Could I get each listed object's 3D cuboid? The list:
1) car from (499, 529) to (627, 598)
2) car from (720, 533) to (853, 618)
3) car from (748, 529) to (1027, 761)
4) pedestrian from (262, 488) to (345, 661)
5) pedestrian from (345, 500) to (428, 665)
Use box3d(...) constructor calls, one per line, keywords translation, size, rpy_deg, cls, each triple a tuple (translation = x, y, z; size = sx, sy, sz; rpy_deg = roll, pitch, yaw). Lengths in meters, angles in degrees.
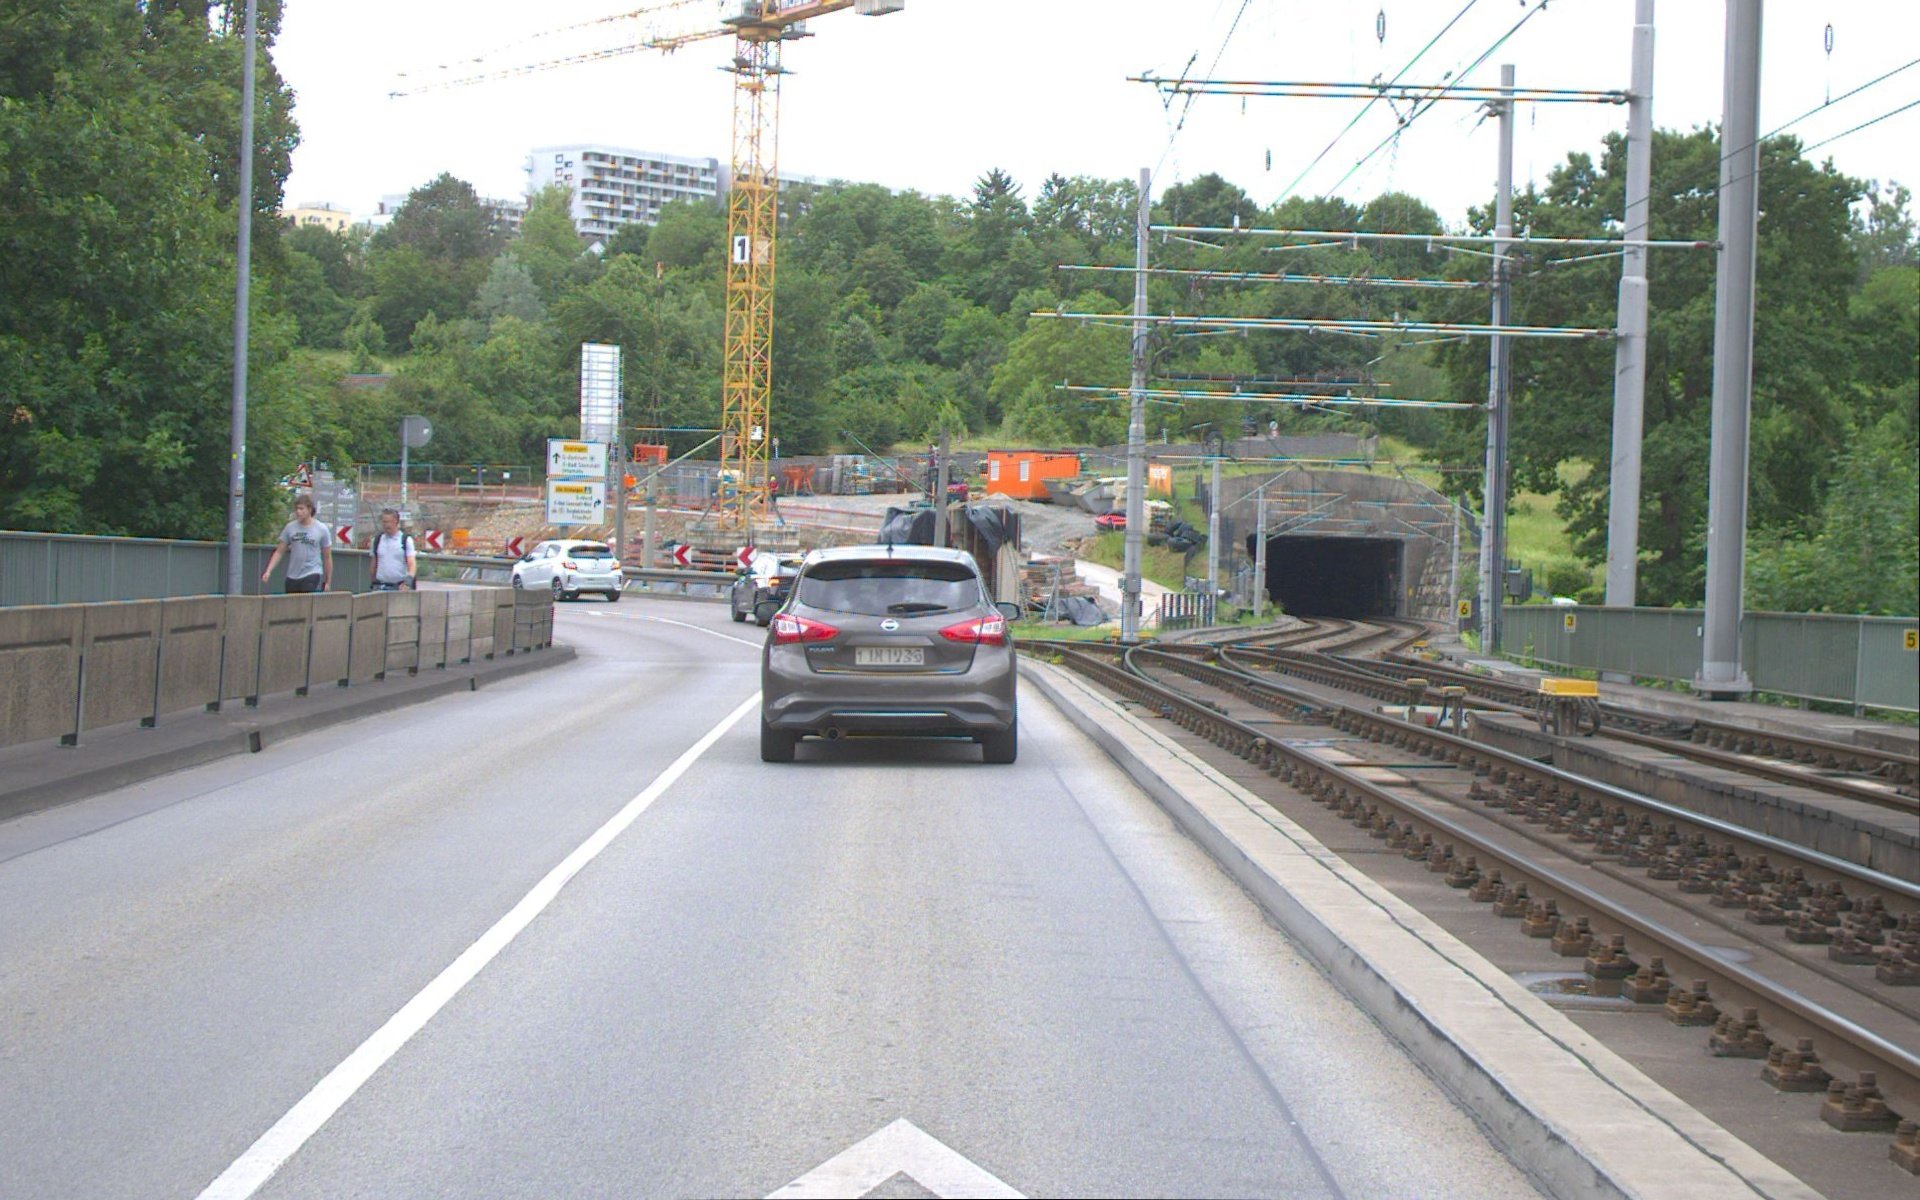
box3d(translation=(-9.888, -0.927, 85.413), size=(1.680, 1.601, 4.310), rpy_deg=(0, 2, -28), cls="car")
box3d(translation=(-3.549, -0.520, 69.620), size=(1.679, 1.601, 4.311), rpy_deg=(1, 1, -17), cls="car")
box3d(translation=(-0.563, 0.272, 24.900), size=(1.829, 1.504, 4.000), rpy_deg=(1, 1, -2), cls="car")
box3d(translation=(-7.088, -0.278, 37.157), size=(0.721, 1.833, 0.723), rpy_deg=(2, 1, -1), cls="pedestrian")
box3d(translation=(-6.024, -0.187, 36.133), size=(0.721, 1.695, 0.723), rpy_deg=(2, 1, -1), cls="pedestrian")
